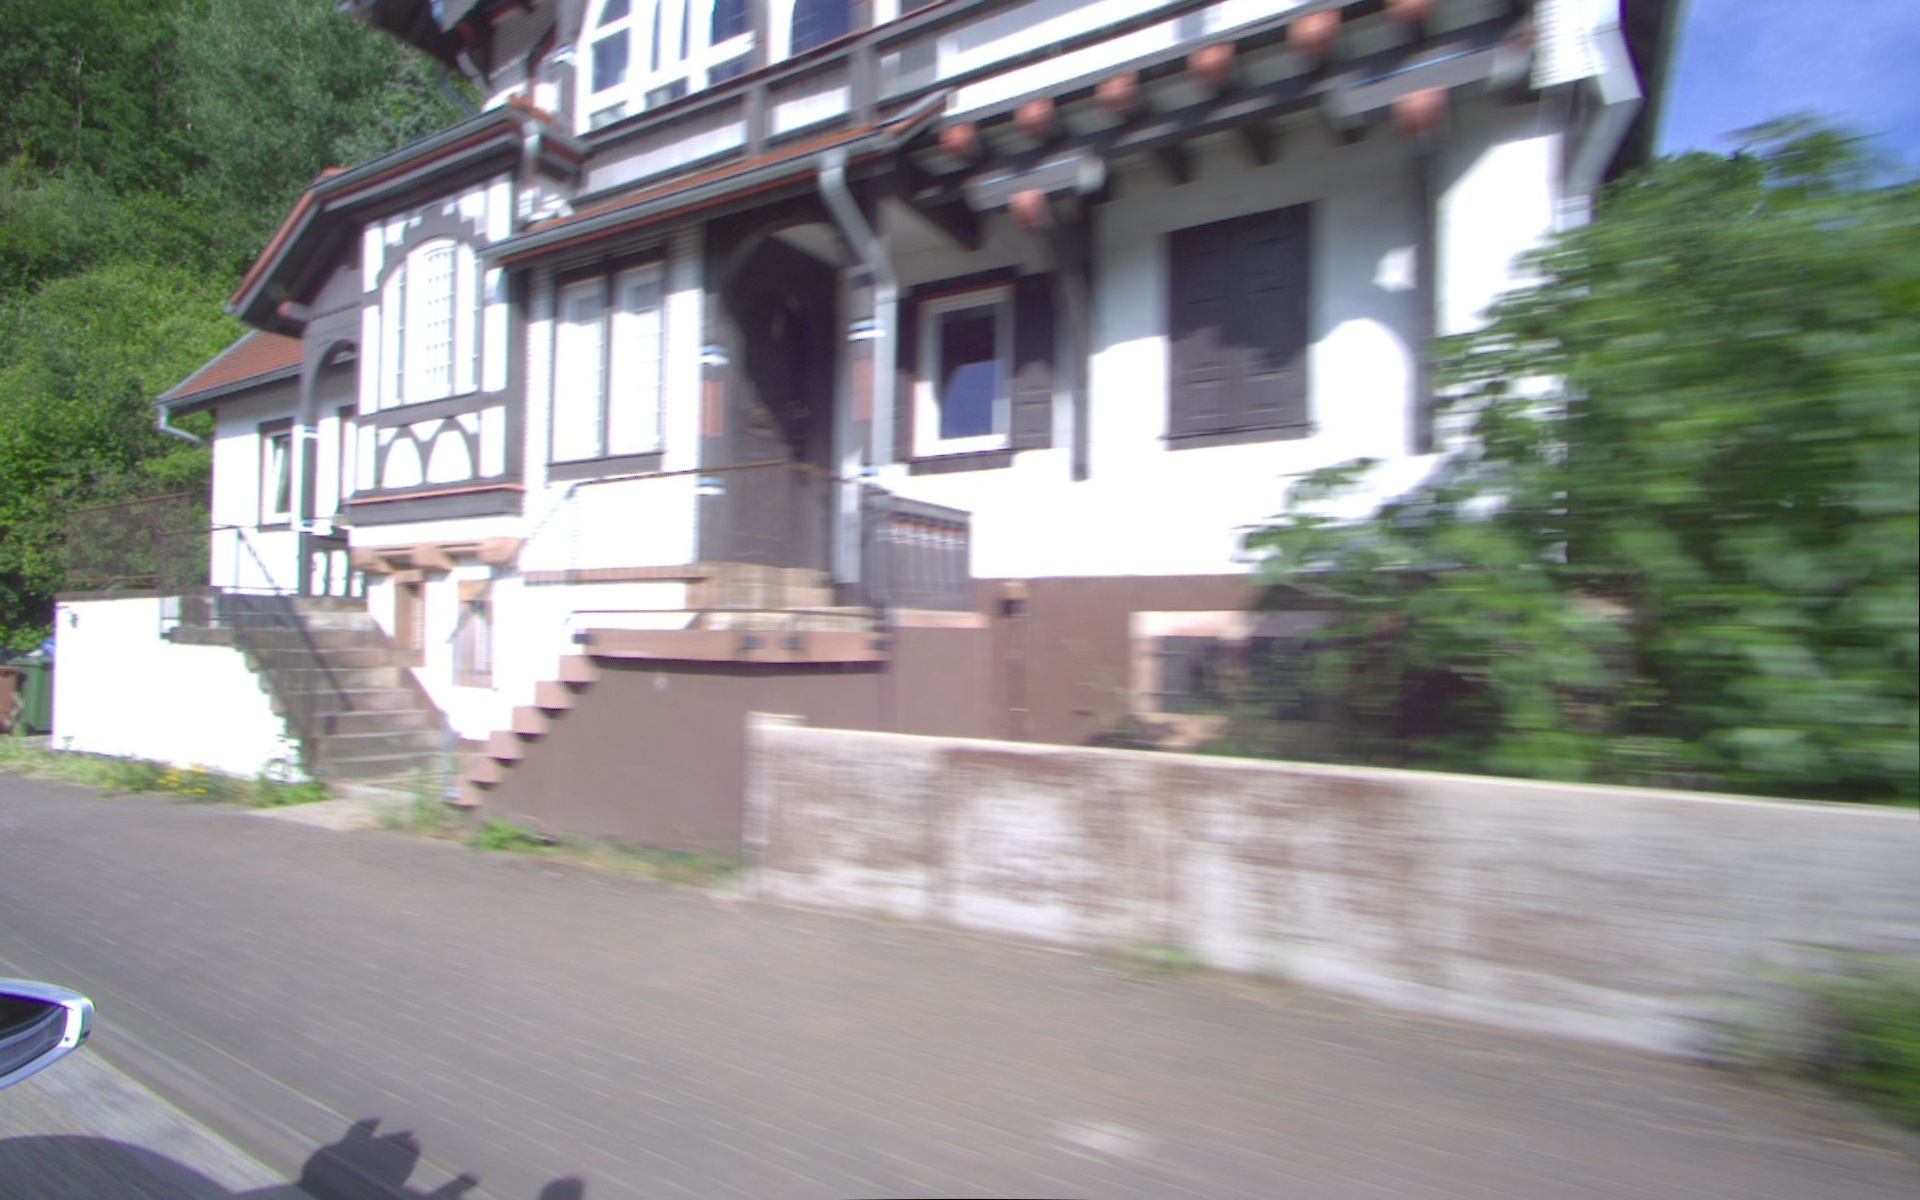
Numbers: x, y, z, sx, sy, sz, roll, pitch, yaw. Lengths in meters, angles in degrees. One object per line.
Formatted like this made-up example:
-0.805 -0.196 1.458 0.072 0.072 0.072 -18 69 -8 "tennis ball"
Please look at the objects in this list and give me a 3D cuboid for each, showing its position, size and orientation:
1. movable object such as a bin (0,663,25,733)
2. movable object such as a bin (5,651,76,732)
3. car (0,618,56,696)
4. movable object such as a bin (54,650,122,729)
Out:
-12.933 1.311 13.418 0.538 0.911 0.368 0 -2 23 "movable object such as a bin"
-12.668 1.249 13.792 0.741 1.076 0.477 0 -2 29 "movable object such as a bin"
-18.990 1.047 18.119 1.803 1.487 4.330 0 -2 -9 "car"
-12.513 1.272 14.367 0.741 1.076 0.477 0 -2 29 "movable object such as a bin"
